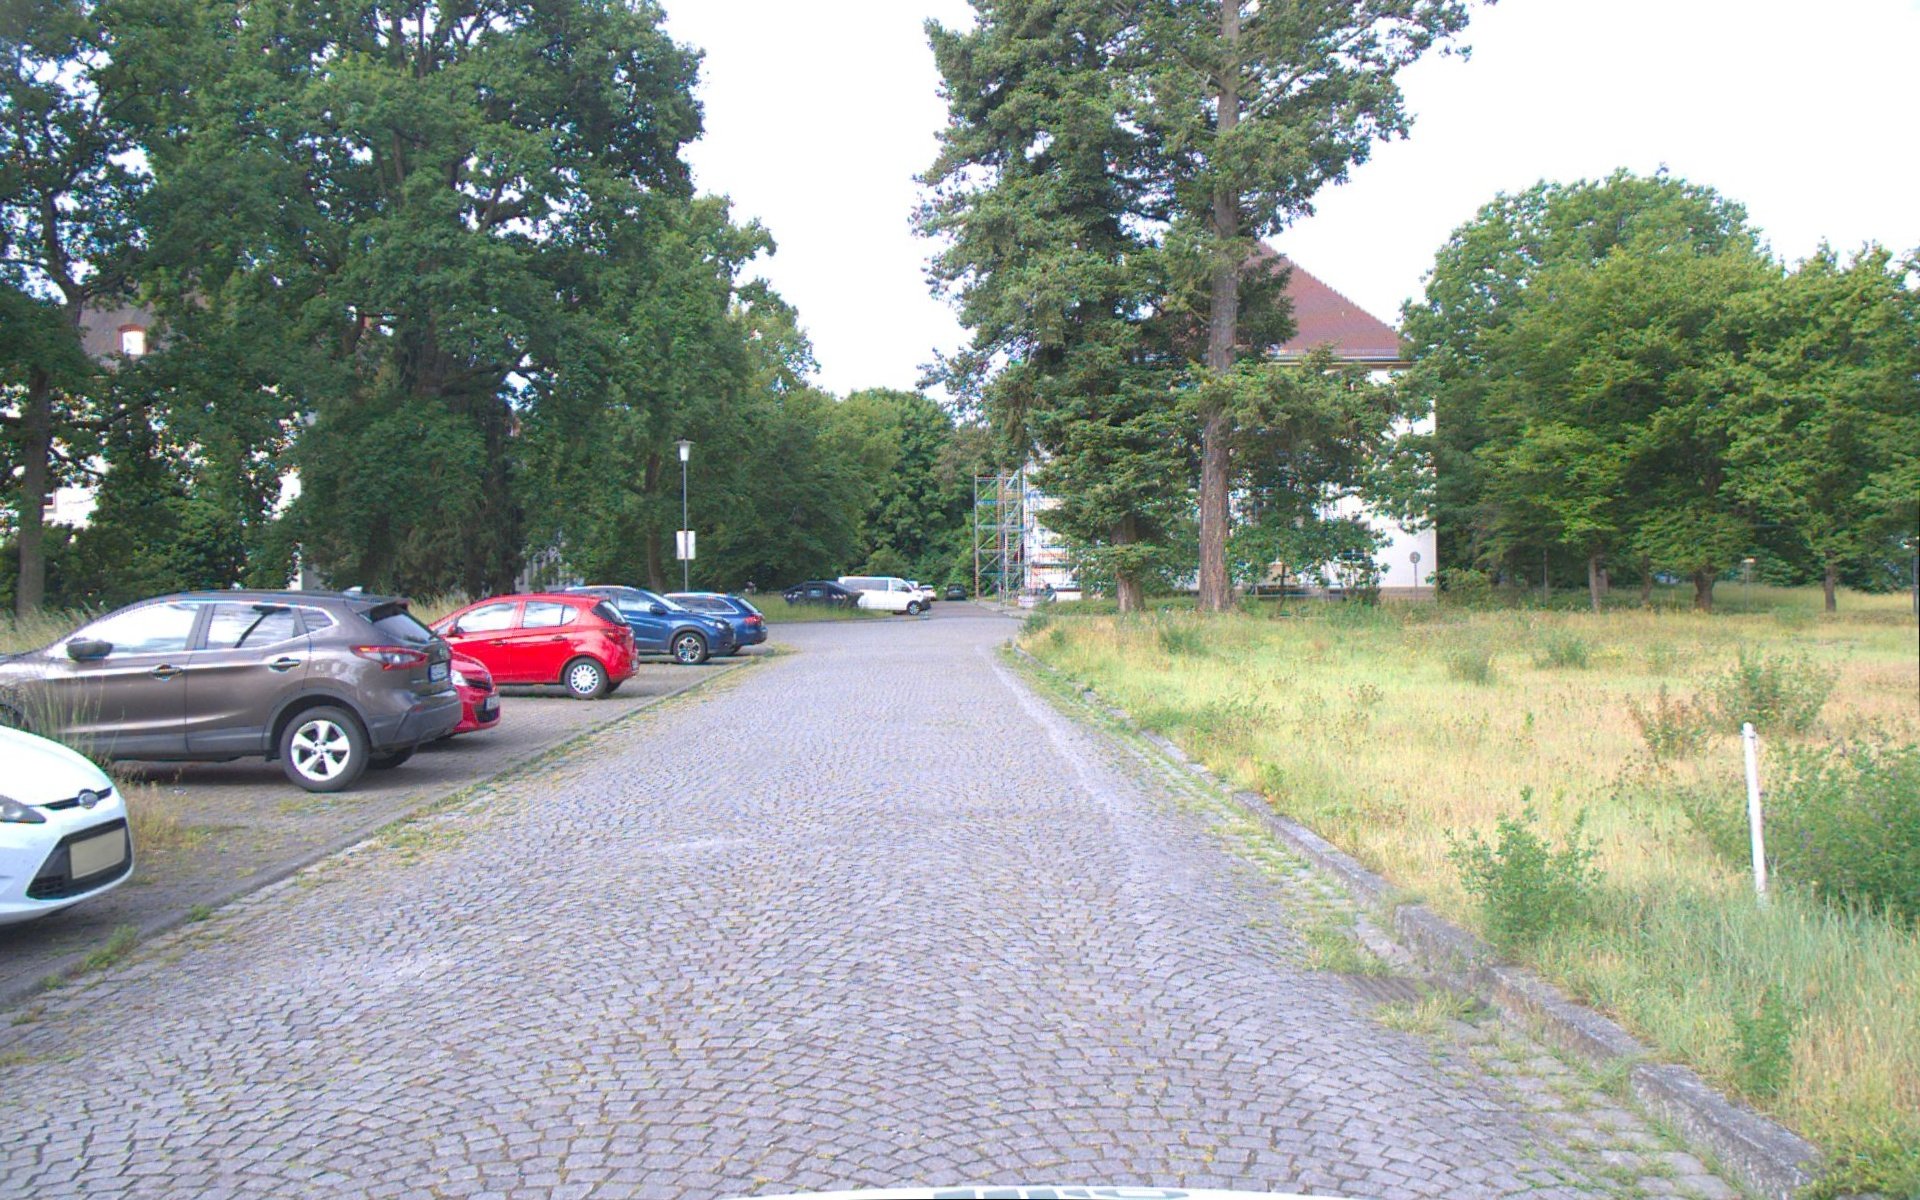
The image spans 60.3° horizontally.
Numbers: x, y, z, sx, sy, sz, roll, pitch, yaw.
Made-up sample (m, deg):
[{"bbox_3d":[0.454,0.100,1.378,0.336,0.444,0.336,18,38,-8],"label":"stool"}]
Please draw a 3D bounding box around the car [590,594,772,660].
[{"bbox_3d":[-6.589,0.630,39.311,3.986,1.493,1.626,-1,1,2],"label":"car"}]

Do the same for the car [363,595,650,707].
[{"bbox_3d":[-6.593,0.719,24.361,3.739,1.515,1.787,-1,1,-3],"label":"car"}]

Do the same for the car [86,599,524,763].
[{"bbox_3d":[-6.540,0.777,16.834,3.739,1.512,1.761,-1,1,-2],"label":"car"}]

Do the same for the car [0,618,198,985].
[{"bbox_3d":[-5.851,0.885,7.770,3.718,1.519,1.725,-1,1,-4],"label":"car"}]

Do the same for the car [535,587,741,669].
[{"bbox_3d":[-6.677,0.562,34.610,3.990,1.632,1.786,-1,1,-3],"label":"car"}]

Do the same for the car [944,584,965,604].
[{"bbox_3d":[-0.550,-0.577,154.839,1.754,1.750,4.058,-1,-1,-3],"label":"car"}]

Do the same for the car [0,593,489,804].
[{"bbox_3d":[-6.270,0.775,14.054,3.986,1.602,1.953,-1,1,-3],"label":"car"}]

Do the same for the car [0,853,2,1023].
[{"bbox_3d":[-5.938,0.643,5.190,4.615,2.015,2.037,-1,1,-2],"label":"car"}]

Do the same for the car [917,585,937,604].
[{"bbox_3d":[-3.112,-0.481,154.444,1.754,1.665,4.058,-1,-1,-3],"label":"car"}]

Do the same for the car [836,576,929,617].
[{"bbox_3d":[-4.141,-0.172,88.359,4.878,2.109,2.051,0,-1,-3],"label":"car"}]
